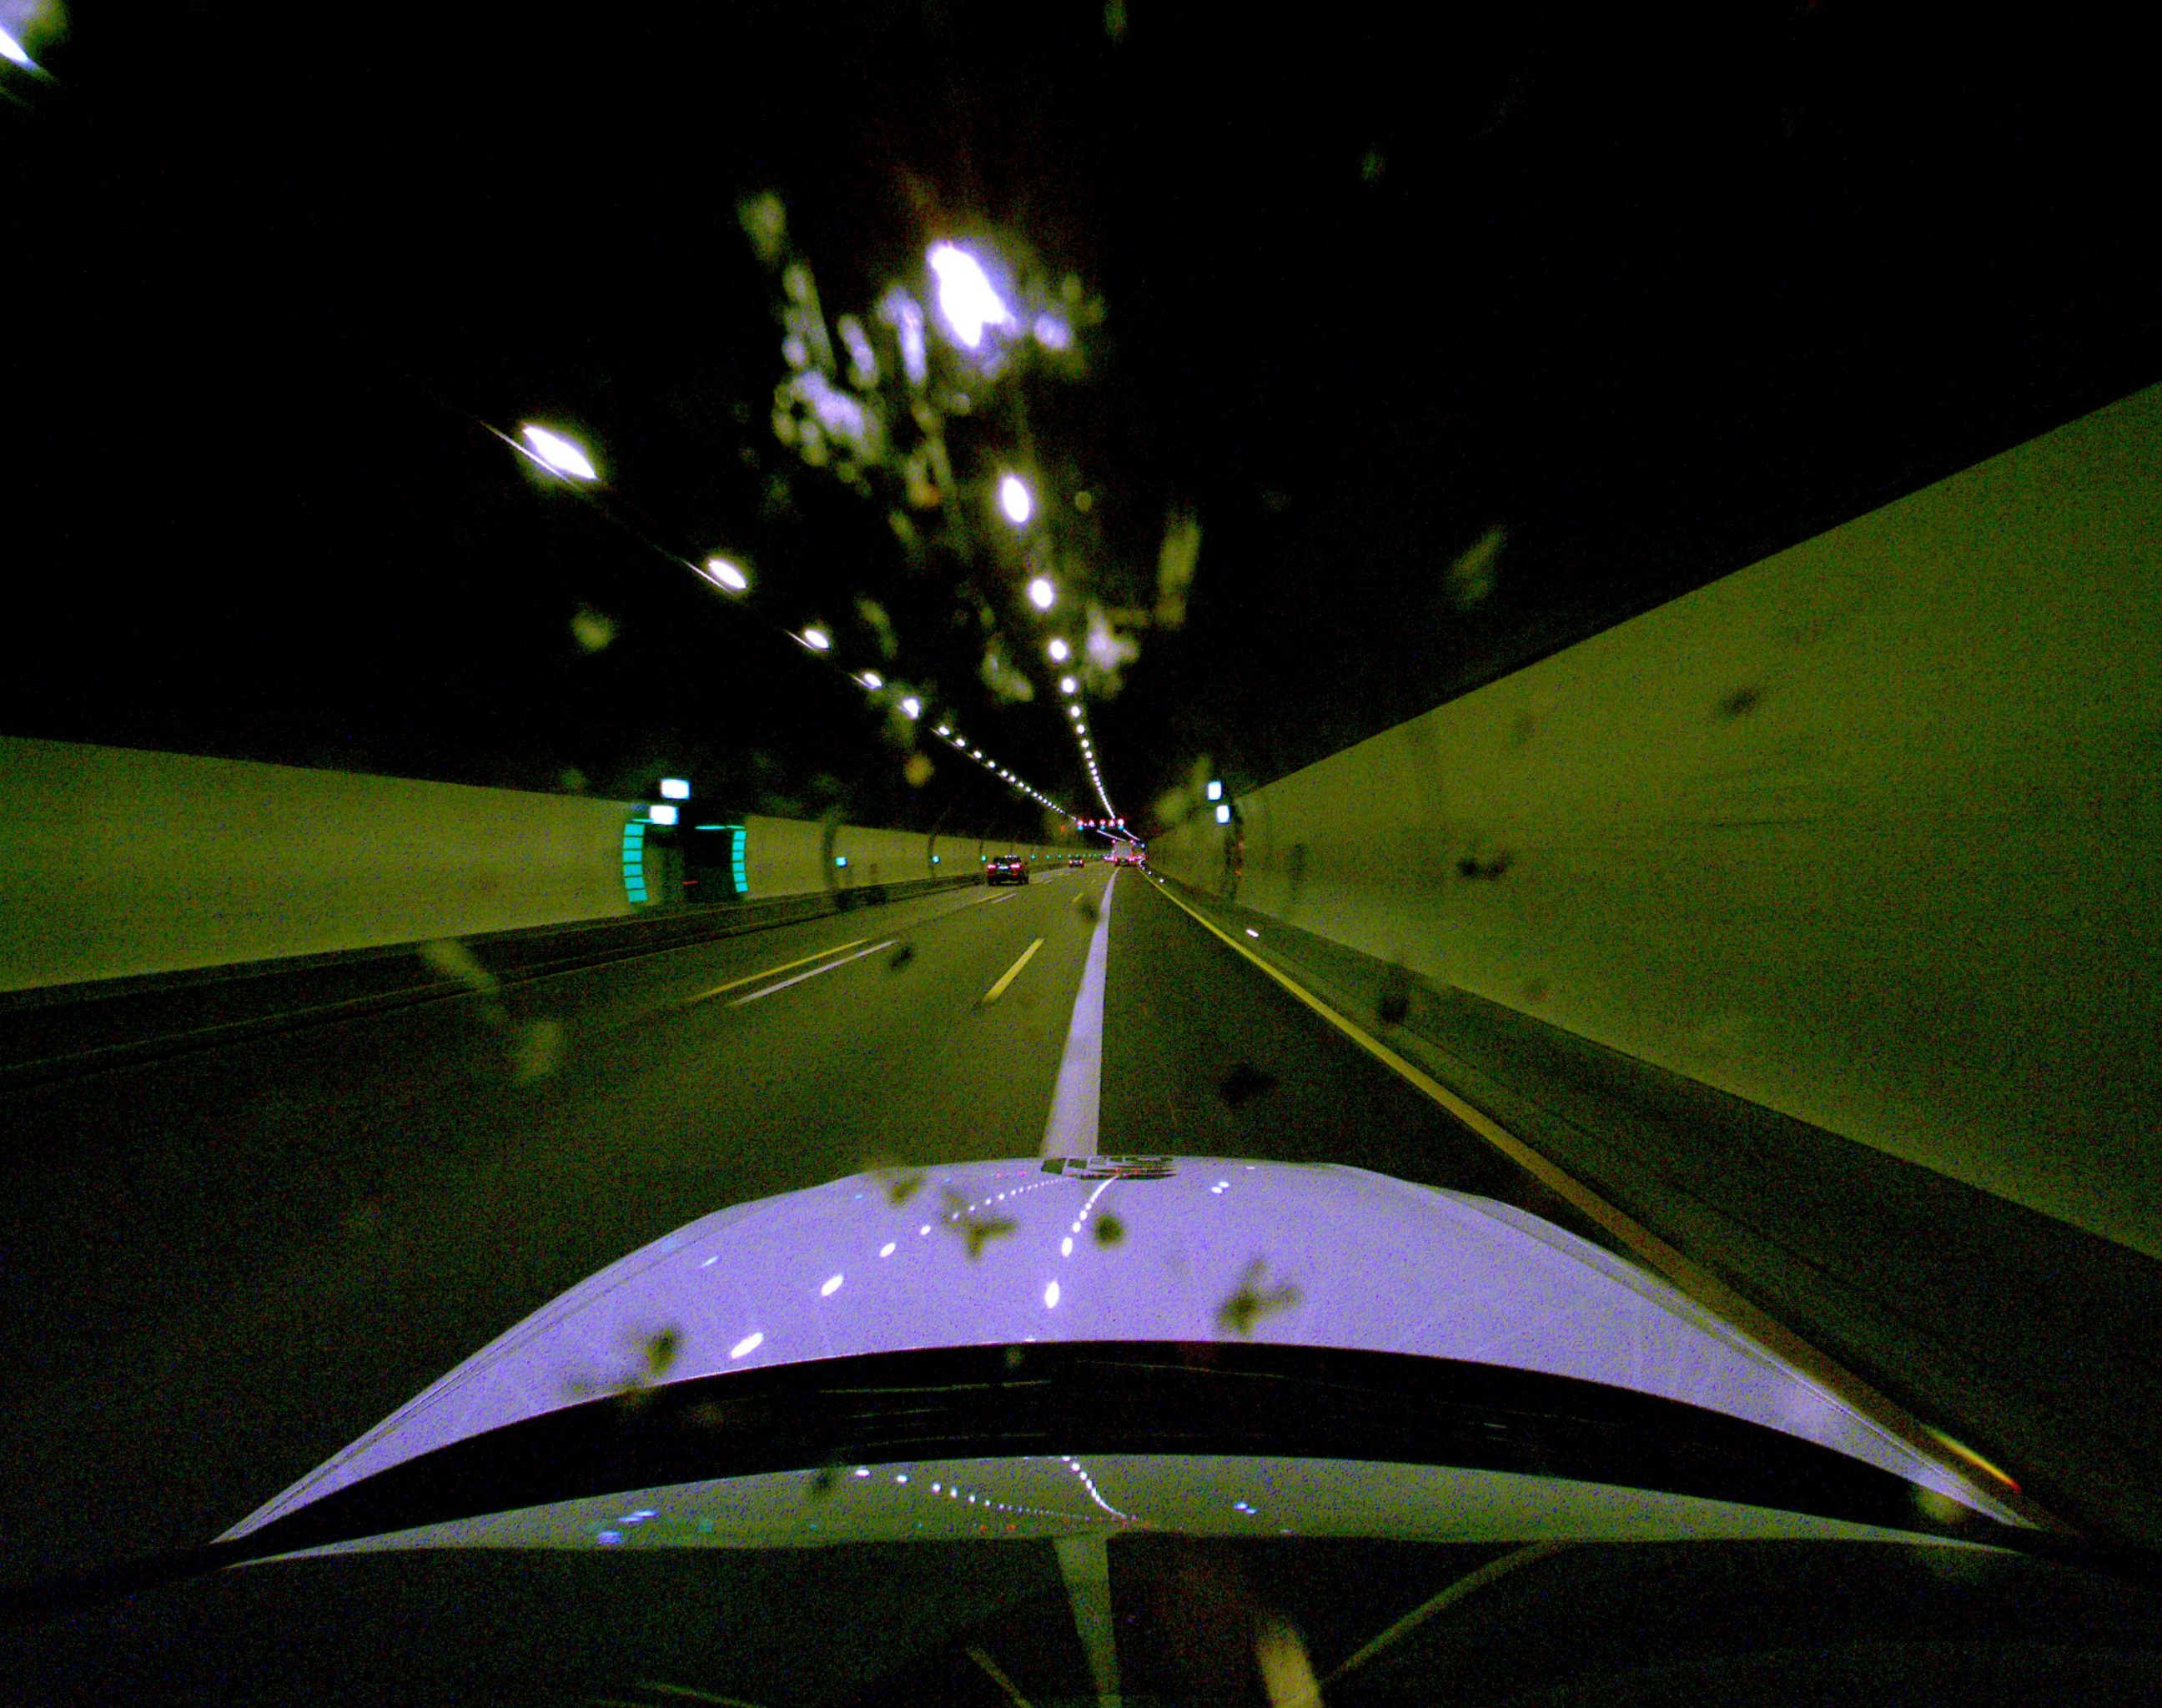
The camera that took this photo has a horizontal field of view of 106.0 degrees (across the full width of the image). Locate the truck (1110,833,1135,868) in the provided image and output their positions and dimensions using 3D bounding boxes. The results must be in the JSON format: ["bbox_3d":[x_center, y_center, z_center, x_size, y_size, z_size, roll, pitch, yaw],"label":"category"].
[{"bbox_3d":[5.898,-0.441,117.756,3.266,4.650,17.292,0,0,2],"label":"truck"}]

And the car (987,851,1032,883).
[{"bbox_3d":[-3.826,0.665,44.071,1.805,1.618,4.004,1,0,4],"label":"car"}]

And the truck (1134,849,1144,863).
[{"bbox_3d":[17.633,0.709,246.865,2.909,4.048,14.047,0,0,5],"label":"truck"}]

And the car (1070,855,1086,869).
[{"bbox_3d":[-0.351,0.954,101.267,1.805,1.520,4.003,1,1,3],"label":"car"}]

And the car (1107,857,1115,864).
[{"bbox_3d":[5.947,1.255,161.506,1.644,1.275,4.003,1,1,3],"label":"car"}]
